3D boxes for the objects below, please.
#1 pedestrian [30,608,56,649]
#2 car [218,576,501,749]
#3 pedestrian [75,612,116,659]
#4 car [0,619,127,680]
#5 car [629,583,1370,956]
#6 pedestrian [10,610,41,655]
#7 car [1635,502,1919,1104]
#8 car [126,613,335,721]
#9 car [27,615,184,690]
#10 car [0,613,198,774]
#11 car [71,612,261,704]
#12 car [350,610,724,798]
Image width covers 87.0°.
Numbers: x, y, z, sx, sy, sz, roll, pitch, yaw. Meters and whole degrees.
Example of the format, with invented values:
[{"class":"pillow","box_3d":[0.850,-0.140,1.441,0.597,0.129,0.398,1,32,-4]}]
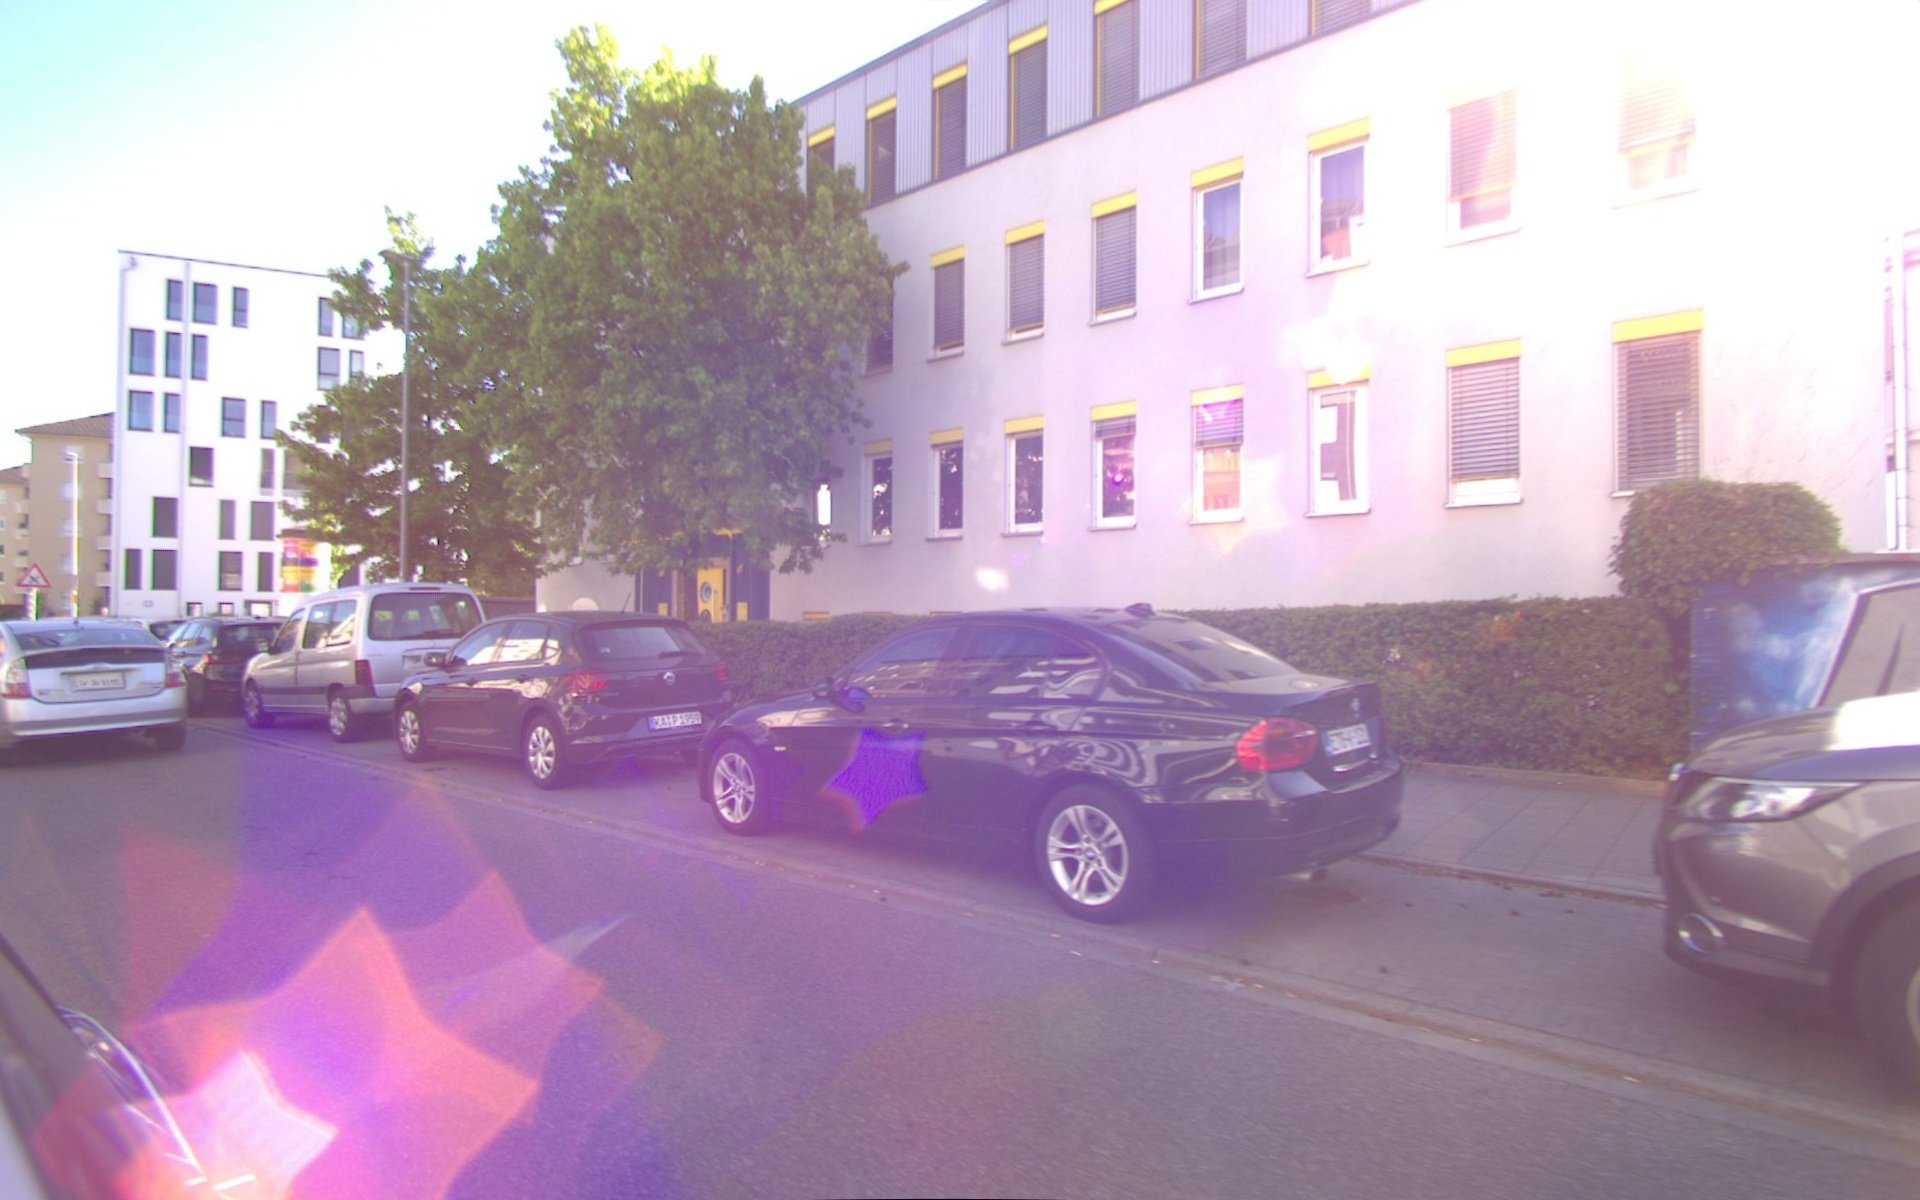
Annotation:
[{"class":"pedestrian","box_3d":[-43.225,1.341,47.699,0.778,1.899,0.849,1,0,-34]},{"class":"car","box_3d":[-7.737,0.722,12.882,4.335,1.853,1.671,-1,-2,38]},{"class":"pedestrian","box_3d":[-32.153,1.303,37.647,0.962,1.727,0.876,1,-2,-28]},{"class":"car","box_3d":[-22.782,1.199,25.664,4.219,1.421,1.771,-1,-1,39]},{"class":"car","box_3d":[-0.074,0.723,6.147,4.438,1.476,1.708,-2,-2,42]},{"class":"pedestrian","box_3d":[-45.591,1.580,49.375,0.951,2.137,0.771,-1,-1,19]},{"class":"car","box_3d":[4.293,0.514,2.270,4.420,1.598,1.701,-2,-2,42]},{"class":"car","box_3d":[-11.483,0.948,15.812,4.610,1.450,1.714,-1,-2,42]},{"class":"car","box_3d":[-19.135,1.097,22.611,4.375,1.490,1.889,0,-1,39]},{"class":"car","box_3d":[-10.238,0.931,11.446,4.103,1.497,1.708,-2,-1,40]},{"class":"car","box_3d":[-15.358,1.018,19.495,4.620,1.541,1.889,0,-1,39]},{"class":"car","box_3d":[-4.169,0.835,9.702,3.995,1.451,1.582,-1,-1,38]}]
